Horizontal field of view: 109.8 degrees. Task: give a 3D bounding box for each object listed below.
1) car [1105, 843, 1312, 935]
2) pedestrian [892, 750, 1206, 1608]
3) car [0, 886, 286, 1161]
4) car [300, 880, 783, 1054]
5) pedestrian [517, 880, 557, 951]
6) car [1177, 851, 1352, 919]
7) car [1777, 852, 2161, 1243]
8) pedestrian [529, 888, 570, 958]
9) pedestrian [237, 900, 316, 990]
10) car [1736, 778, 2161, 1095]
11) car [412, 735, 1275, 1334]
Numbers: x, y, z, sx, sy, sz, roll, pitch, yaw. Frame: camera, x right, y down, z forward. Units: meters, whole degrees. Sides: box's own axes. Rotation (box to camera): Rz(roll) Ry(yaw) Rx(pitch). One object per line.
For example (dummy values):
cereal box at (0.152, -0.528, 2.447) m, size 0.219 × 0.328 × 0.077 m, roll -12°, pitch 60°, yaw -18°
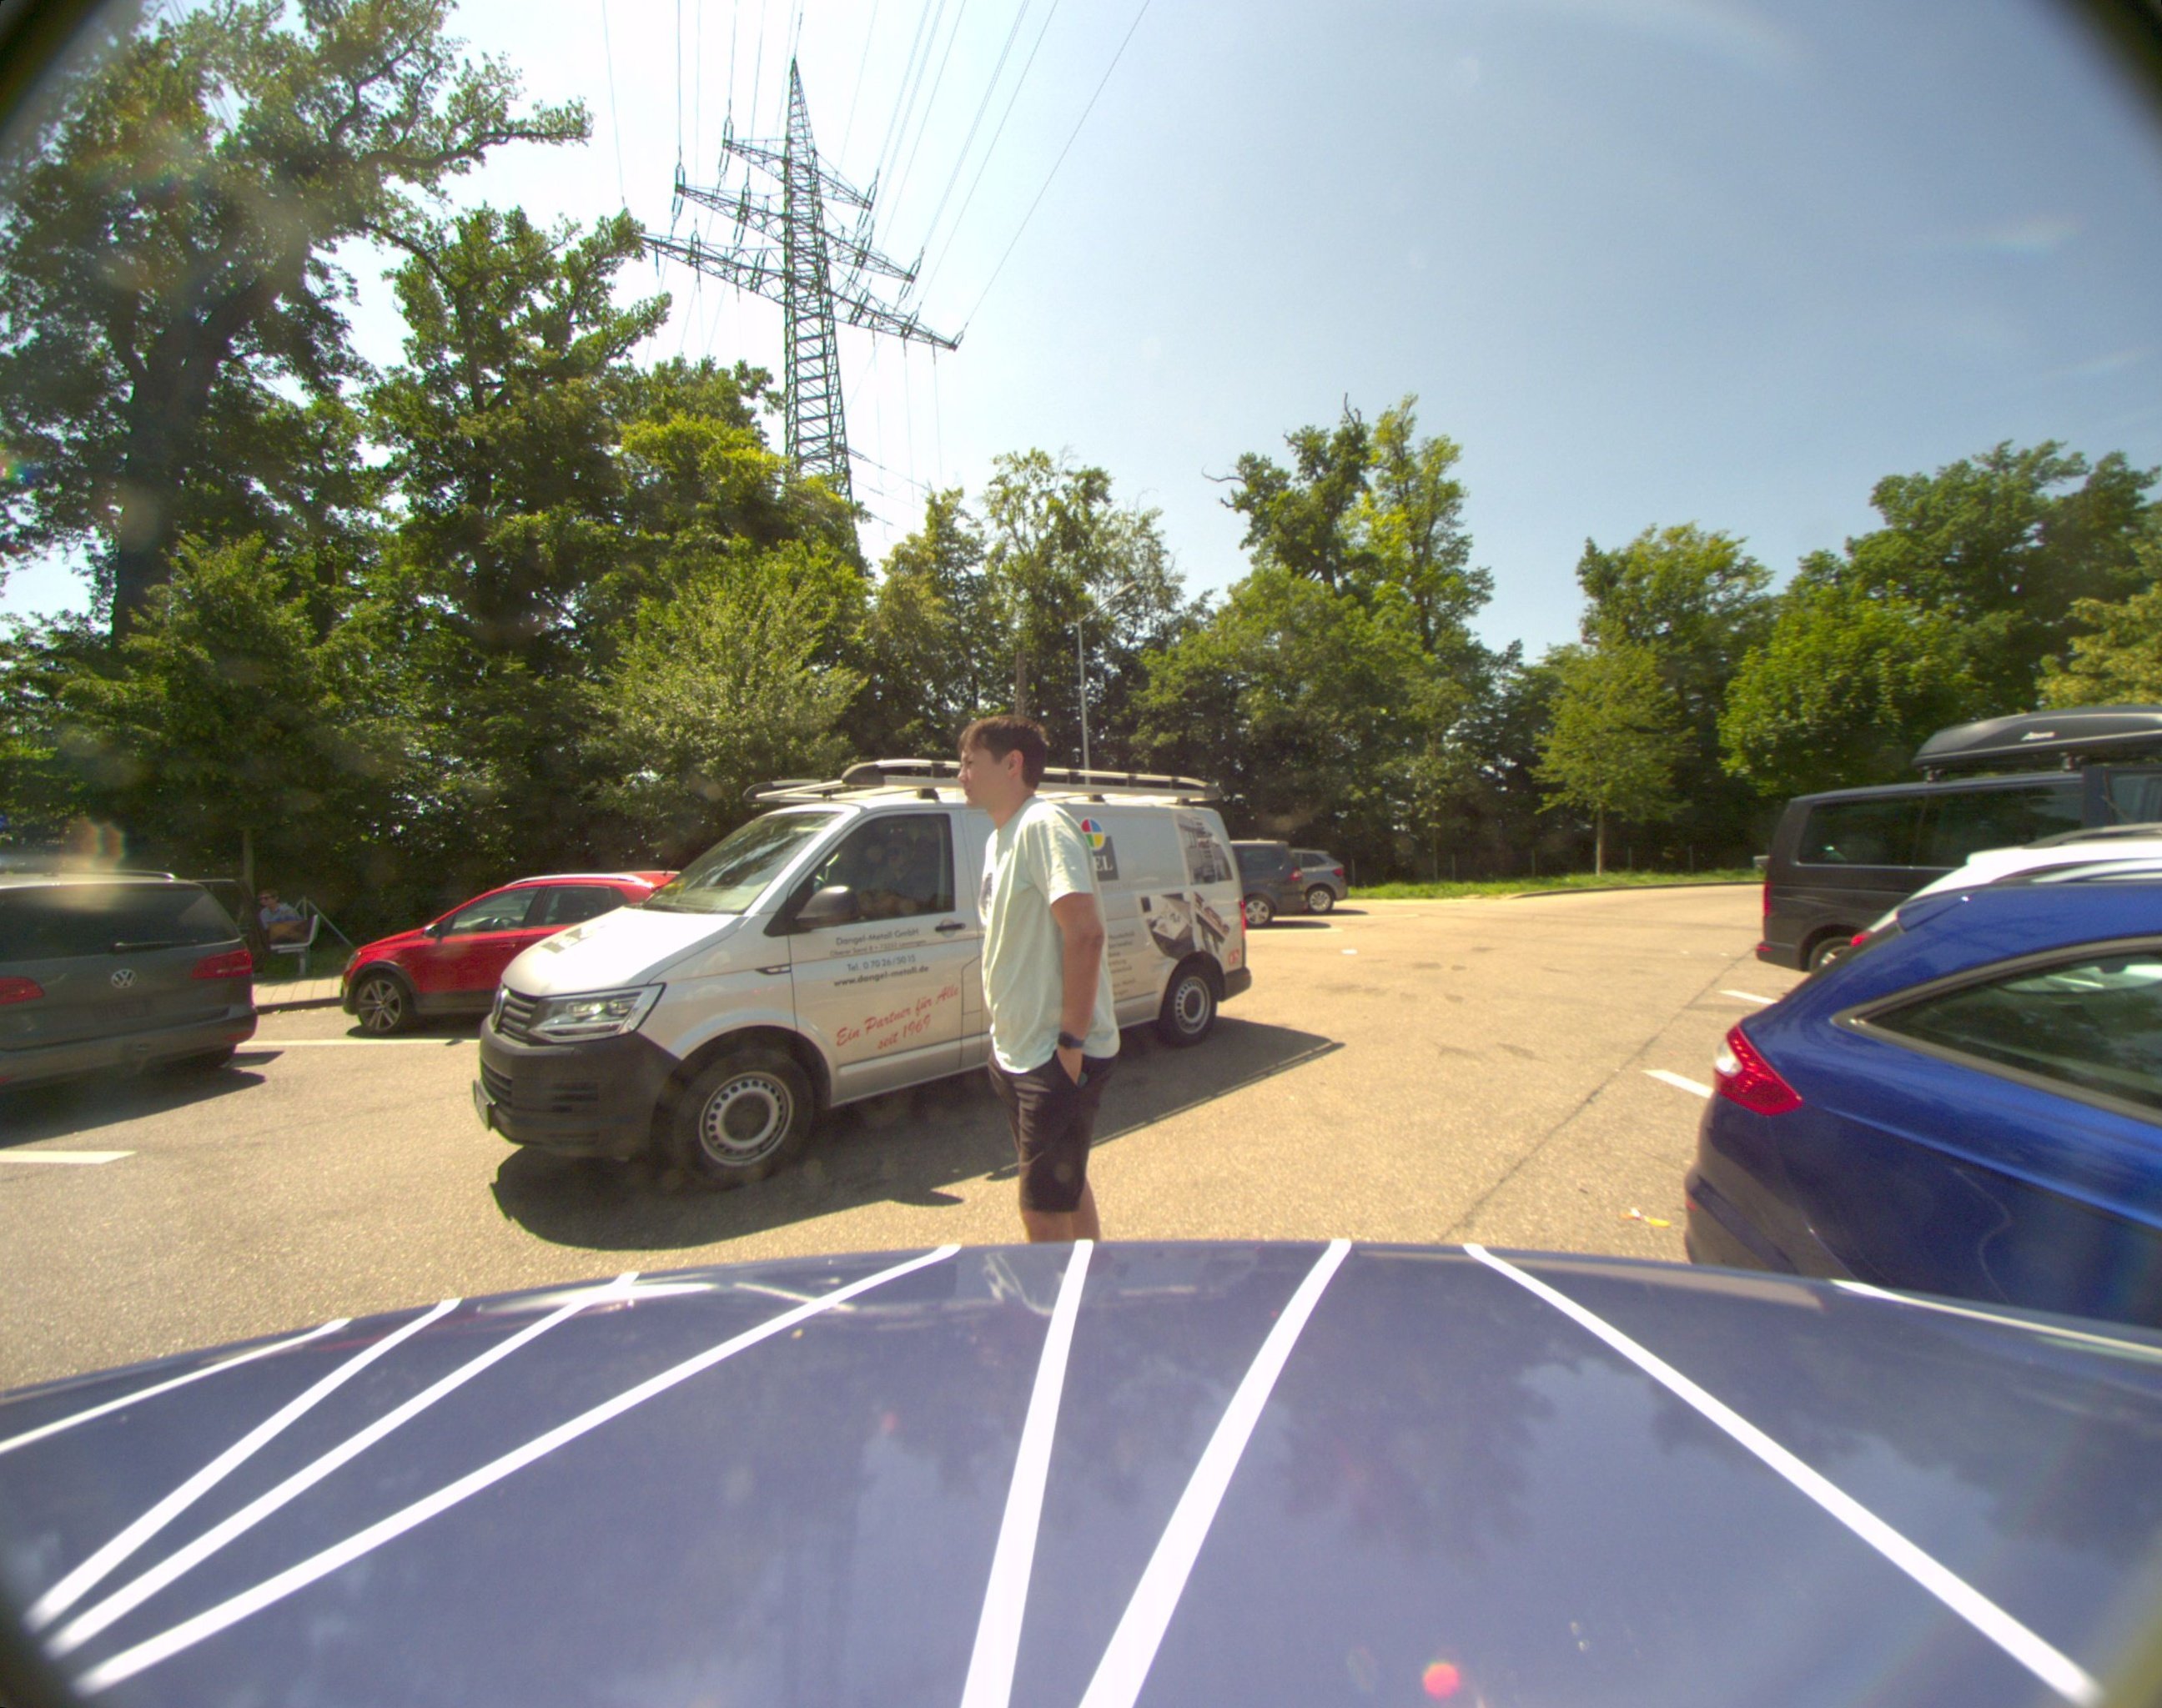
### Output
car at (2.511, 0.682, 15.497) m, size 3.882 × 1.680 × 1.882 m, roll -1°, pitch 0°, yaw 5°
pedestrian at (-0.143, 0.700, 2.093) m, size 0.634 × 1.857 × 0.747 m, roll -2°, pitch 0°, yaw -17°
car at (-8.344, 1.097, 5.446) m, size 3.950 × 1.581 × 1.753 m, roll -1°, pitch 1°, yaw 11°
car at (-5.243, 1.066, 7.654) m, size 3.804 × 1.449 × 1.637 m, roll -1°, pitch 1°, yaw 7°
pedestrian at (-10.991, 1.228, 15.351) m, size 0.490 × 1.367 × 0.506 m, roll -2°, pitch 0°, yaw 41°
car at (4.258, 0.709, 18.121) m, size 3.805 × 1.468 × 1.743 m, roll -1°, pitch 1°, yaw 5°
car at (4.779, 0.702, 2.433) m, size 1.607 × 1.405 × 3.743 m, roll -2°, pitch -1°, yaw -1°
pedestrian at (-10.167, 1.300, 14.541) m, size 0.490 × 1.291 × 0.506 m, roll -2°, pitch 0°, yaw 41°
pedestrian at (-11.743, 1.307, 11.090) m, size 0.680 × 1.211 × 0.675 m, roll -4°, pitch -2°, yaw 36°
car at (7.307, 0.457, 5.029) m, size 2.048 × 1.850 × 4.430 m, roll -2°, pitch -1°, yaw -1°
car at (-1.010, 0.629, 5.279) m, size 5.323 × 2.137 × 1.995 m, roll -2°, pitch -1°, yaw -44°
